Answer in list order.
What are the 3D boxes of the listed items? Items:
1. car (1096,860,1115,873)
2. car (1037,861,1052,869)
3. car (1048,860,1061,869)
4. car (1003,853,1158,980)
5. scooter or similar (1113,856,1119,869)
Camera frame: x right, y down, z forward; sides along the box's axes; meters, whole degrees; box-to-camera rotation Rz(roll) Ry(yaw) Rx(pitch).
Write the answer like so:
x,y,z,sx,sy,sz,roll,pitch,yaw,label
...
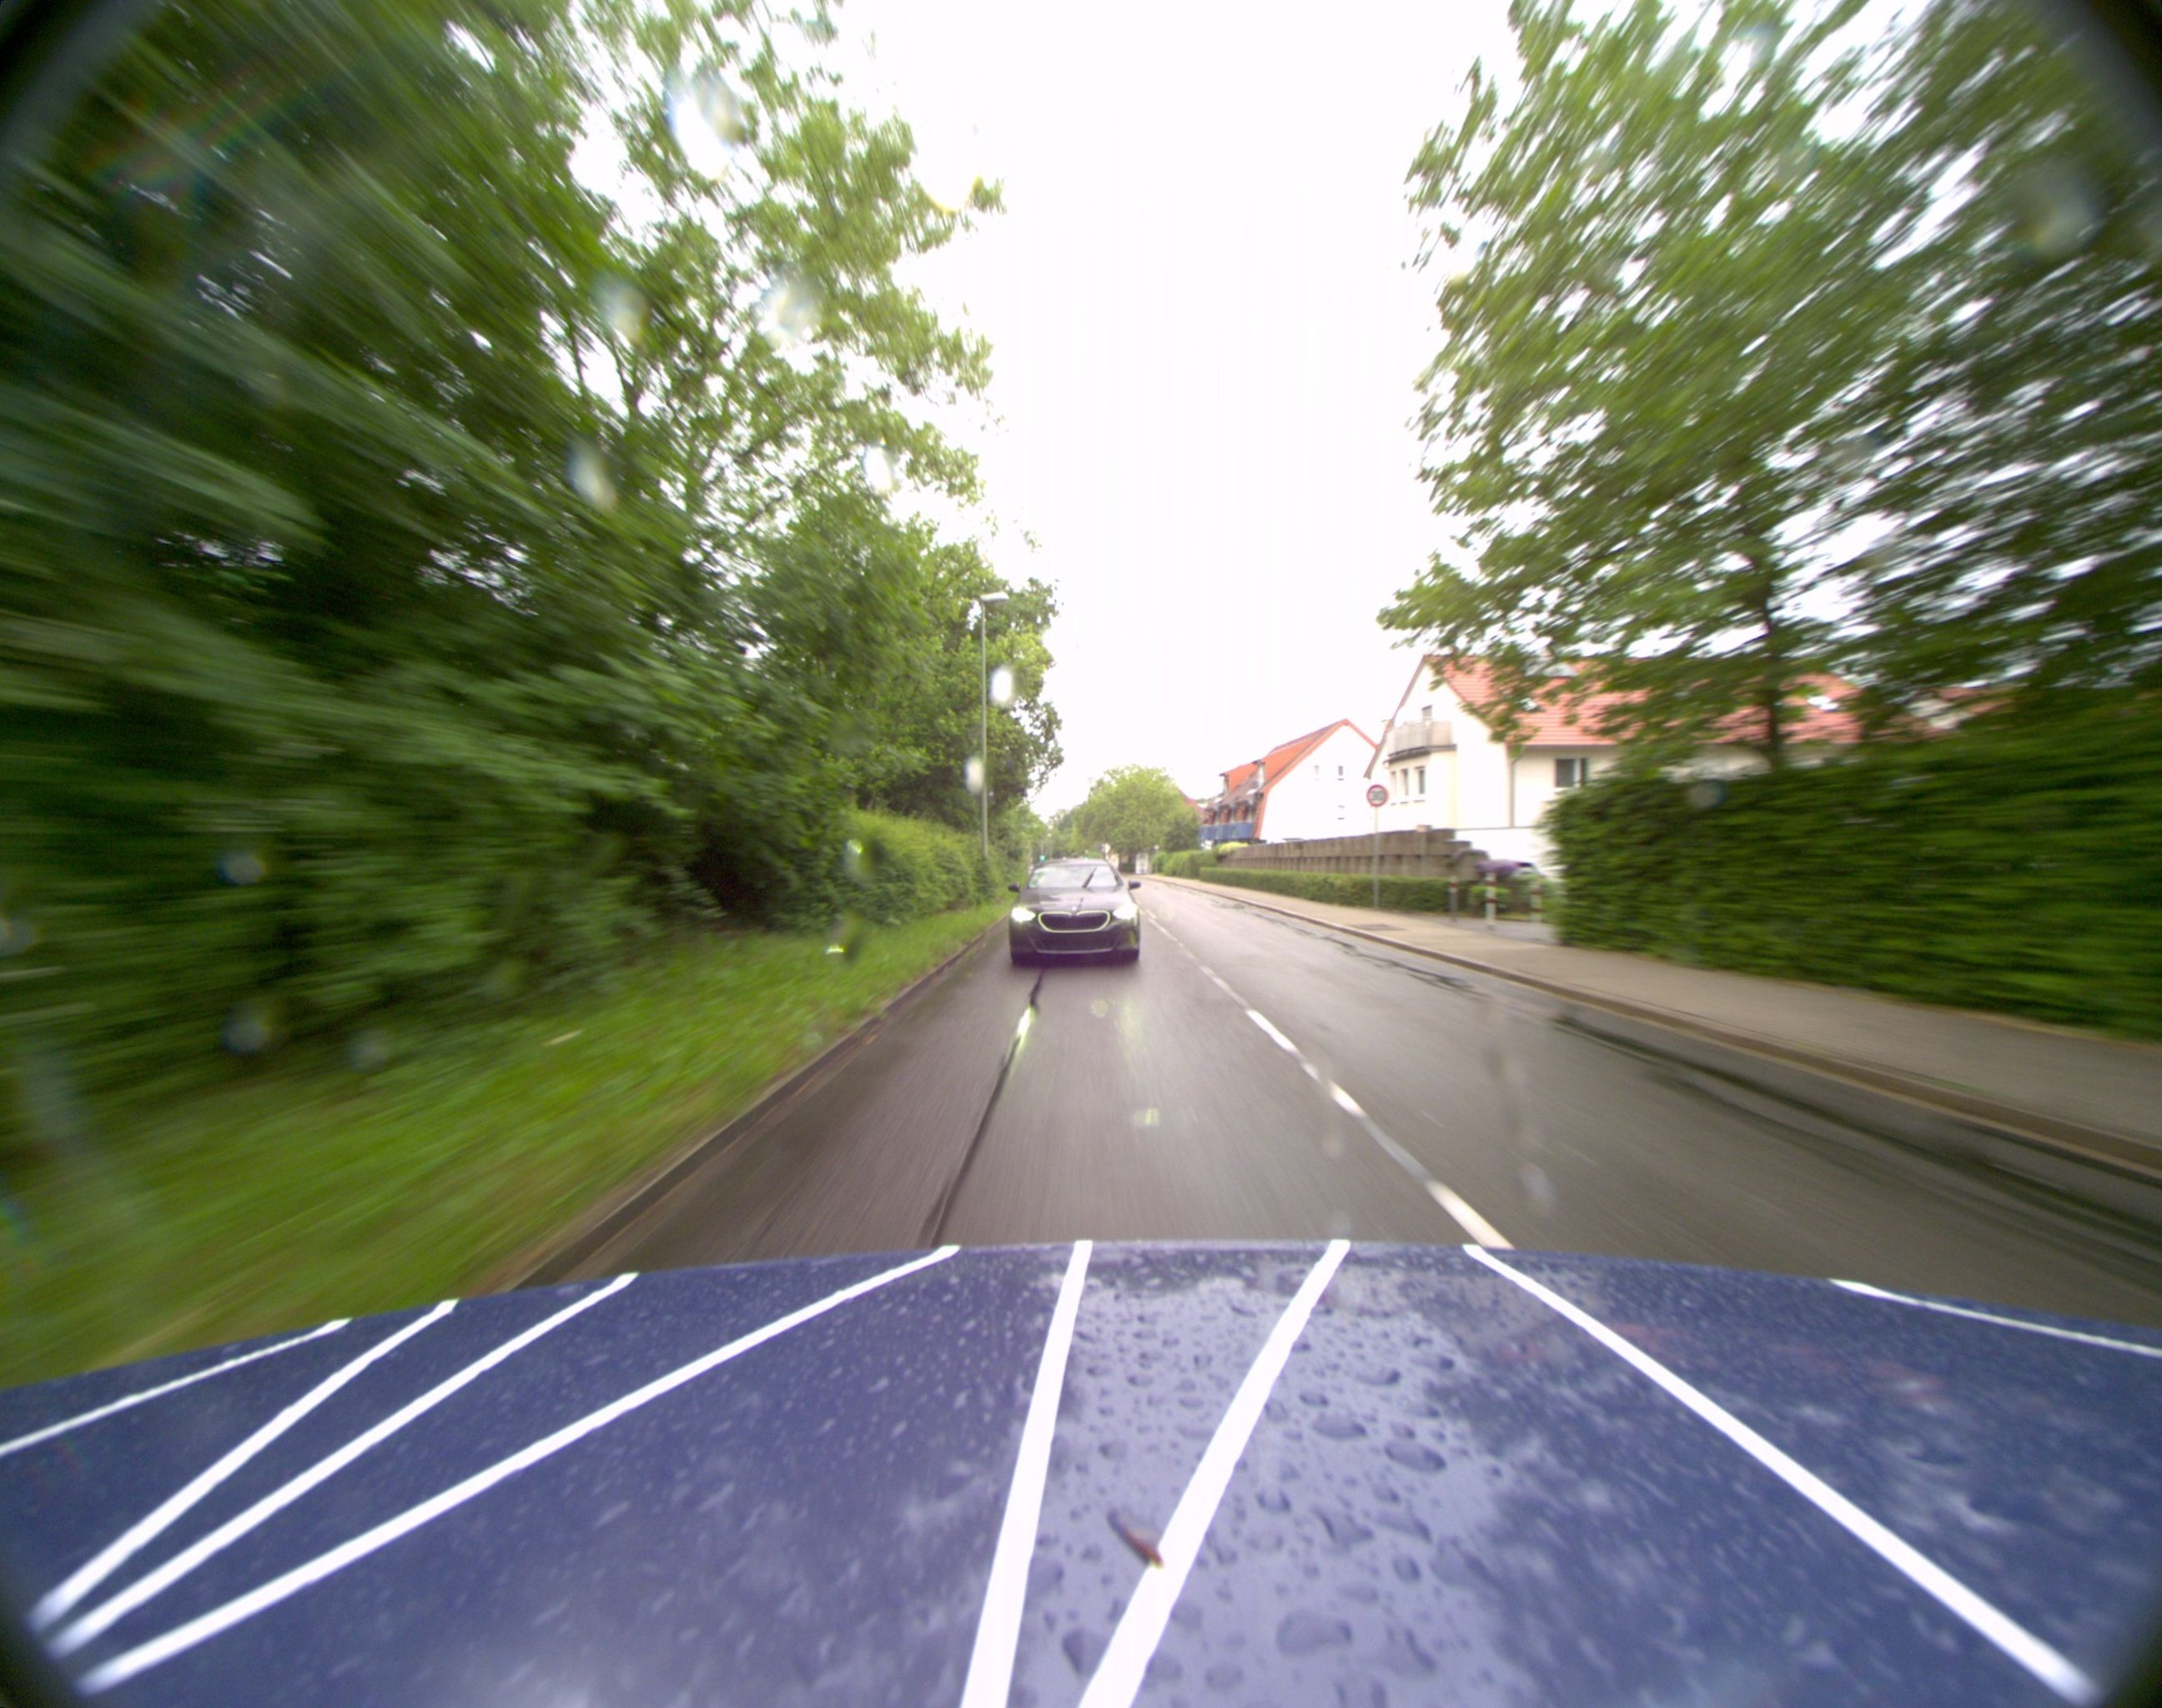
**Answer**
x,y,z,sx,sy,sz,roll,pitch,yaw,label
2.868,1.393,88.336,1.999,1.411,4.485,1,0,-1,car
-7.322,2.202,154.008,2.002,1.651,4.297,0,-1,-18,car
-5.173,2.024,147.653,2.000,1.420,4.387,4,-2,-6,car
-0.175,0.868,12.240,1.999,1.586,4.146,-3,-1,-5,car
4.941,1.231,107.481,0.402,1.765,1.511,-2,1,-9,scooter or similar
